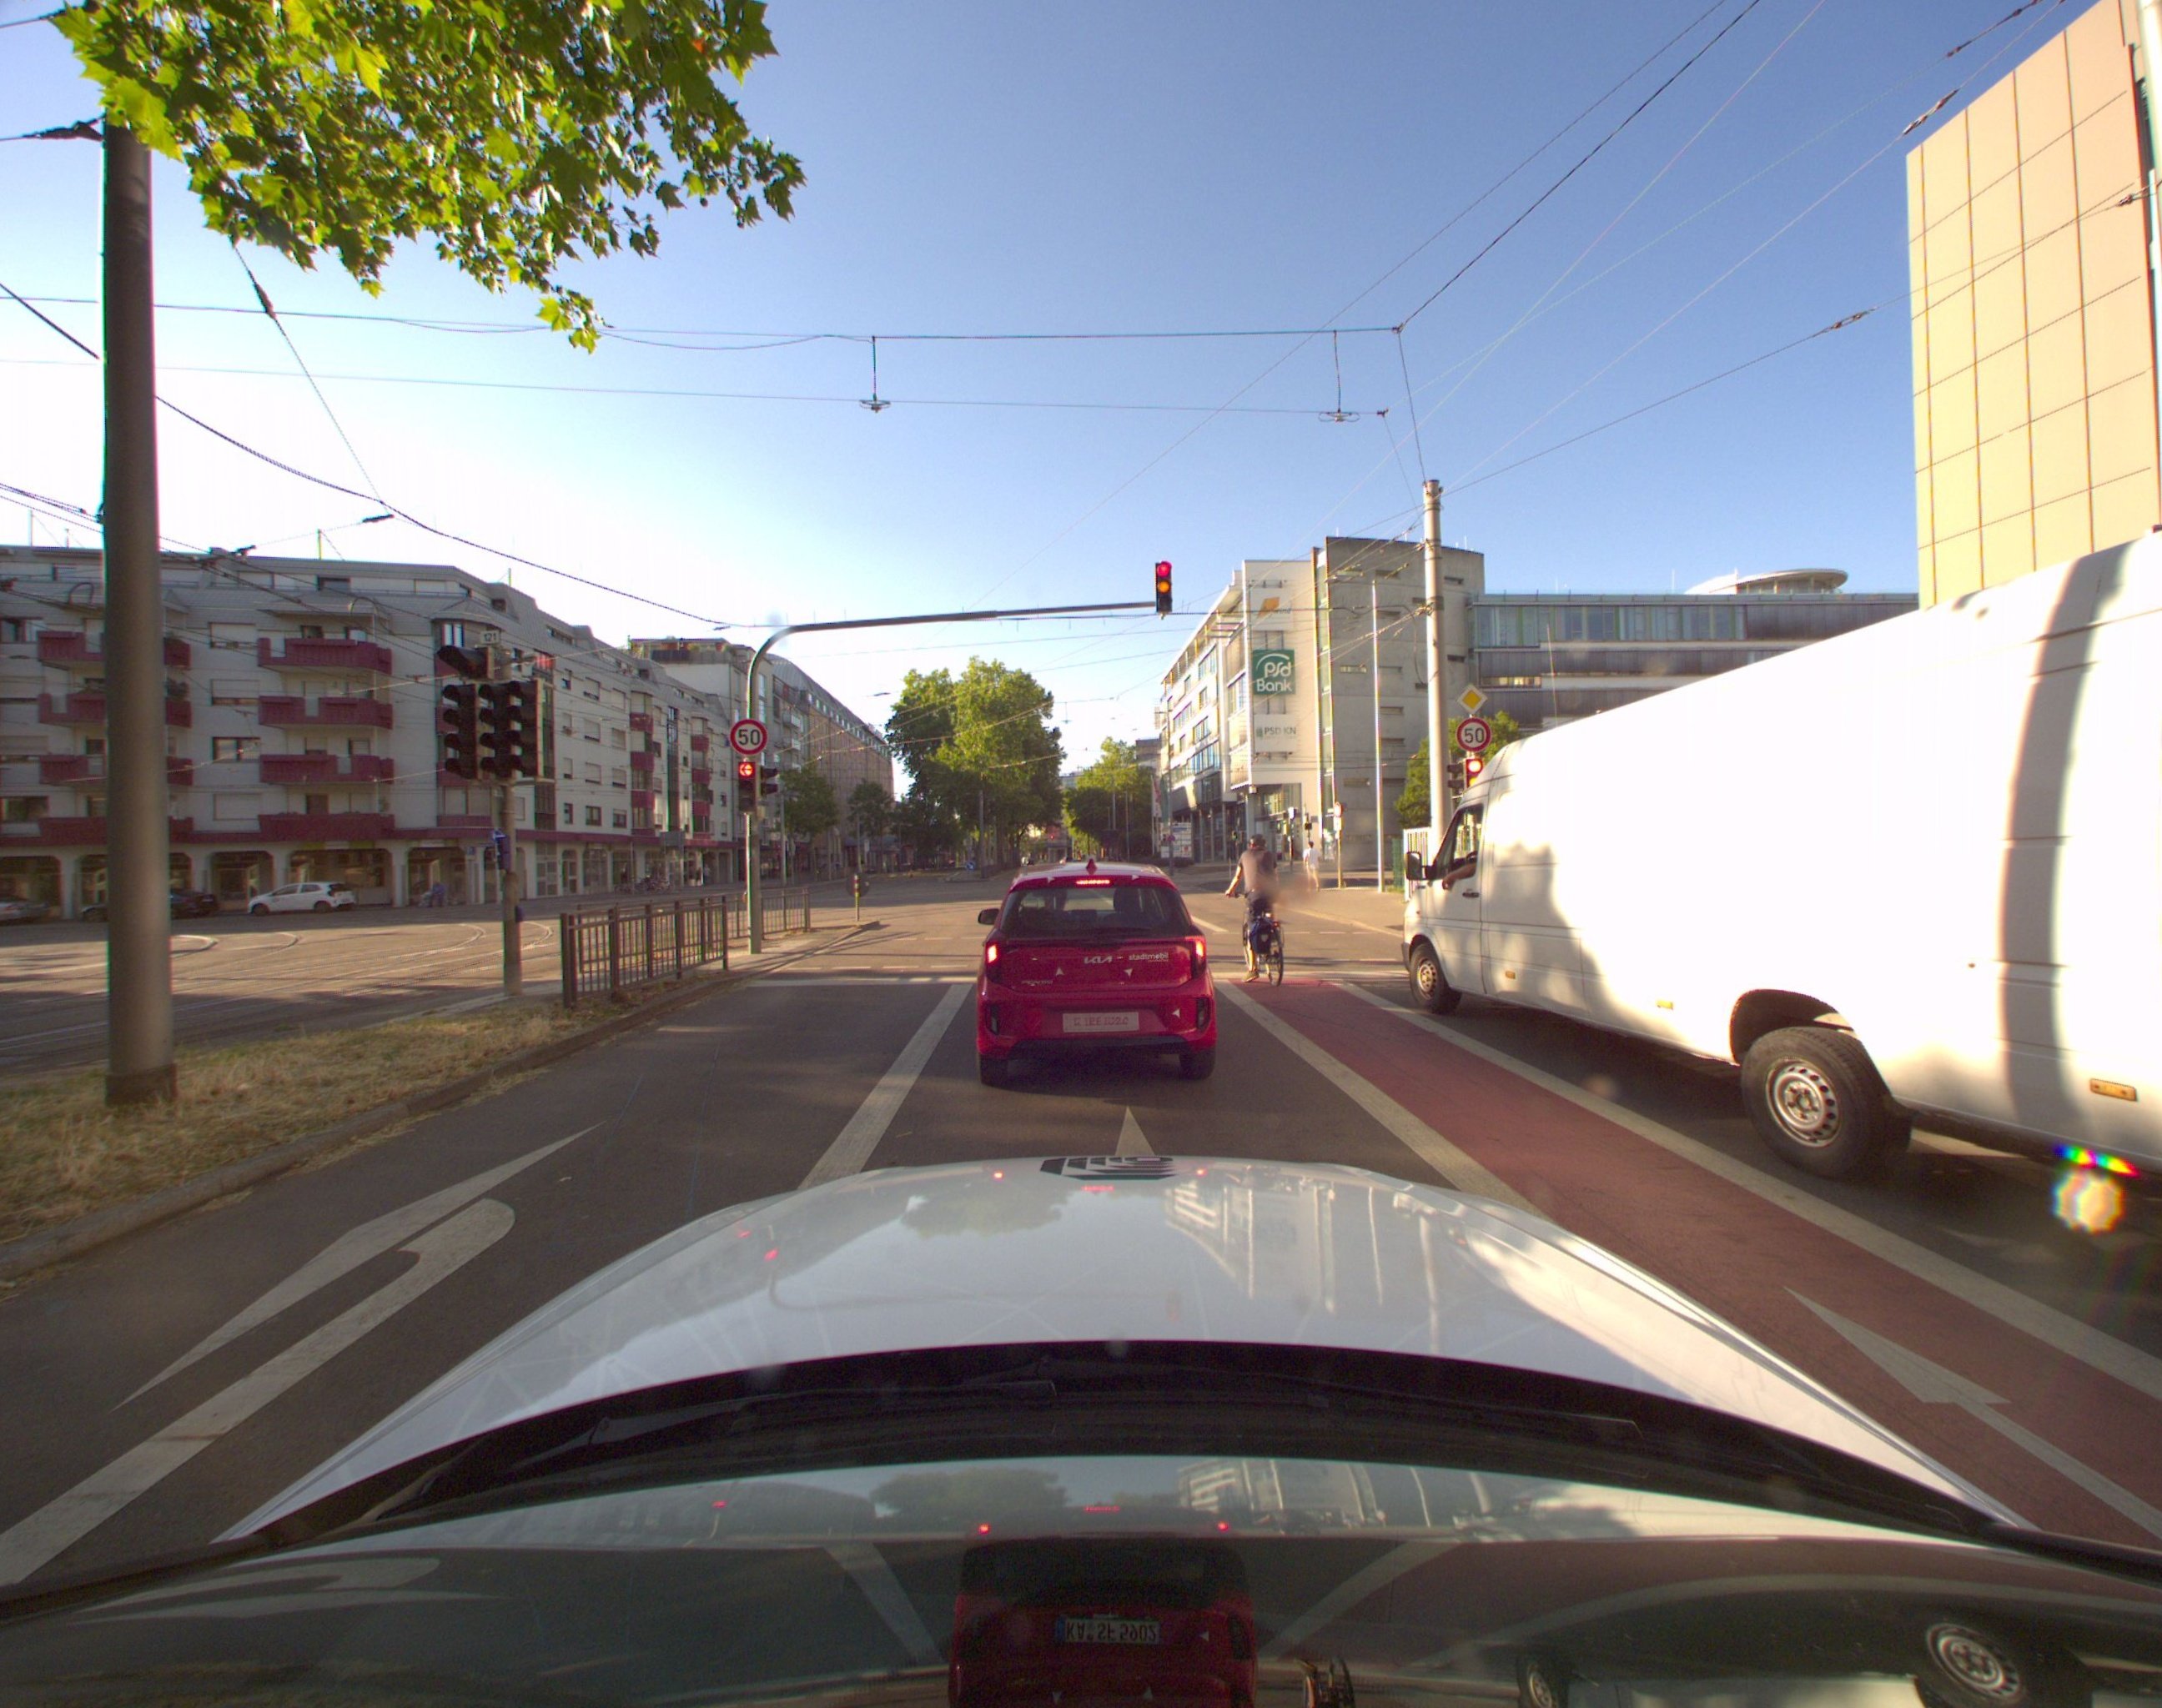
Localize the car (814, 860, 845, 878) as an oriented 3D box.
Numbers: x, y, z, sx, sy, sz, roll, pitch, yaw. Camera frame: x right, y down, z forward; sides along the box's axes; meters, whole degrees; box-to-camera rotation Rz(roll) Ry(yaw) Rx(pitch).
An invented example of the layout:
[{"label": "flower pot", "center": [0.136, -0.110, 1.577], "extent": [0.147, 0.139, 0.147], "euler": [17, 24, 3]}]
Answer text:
[{"label": "car", "center": [-24.739, 1.482, 80.245], "extent": [1.951, 1.672, 4.255], "euler": [-2, 0, -4]}]

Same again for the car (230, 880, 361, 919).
[{"label": "car", "center": [-37.166, 2.127, 38.647], "extent": [3.989, 1.555, 1.992], "euler": [-2, 0, -12]}]

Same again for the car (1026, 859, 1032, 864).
[{"label": "car", "center": [-16.320, 2.303, 256.519], "extent": [1.776, 1.535, 3.403], "euler": [-1, 0, -8]}]

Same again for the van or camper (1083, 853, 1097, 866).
[{"label": "van or camper", "center": [1.454, 0.912, 132.473], "extent": [1.988, 1.989, 4.741], "euler": [-1, 0, -2]}]

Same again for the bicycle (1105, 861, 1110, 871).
[{"label": "bicycle", "center": [3.052, 1.394, 94.518], "extent": [0.518, 0.975, 2.202], "euler": [-5, 0, 2]}]

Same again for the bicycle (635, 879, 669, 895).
[{"label": "bicycle", "center": [-27.791, 2.138, 52.819], "extent": [1.840, 0.985, 0.552], "euler": [-2, 0, -6]}]

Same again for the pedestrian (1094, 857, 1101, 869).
[{"label": "pedestrian", "center": [2.249, 1.206, 111.763], "extent": [0.641, 1.579, 0.722], "euler": [-5, 0, -5]}]

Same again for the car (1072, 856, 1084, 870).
[{"label": "car", "center": [-0.399, 1.191, 112.650], "extent": [1.631, 1.800, 3.328], "euler": [-2, 0, -1]}]

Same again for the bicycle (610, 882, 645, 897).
[{"label": "bicycle", "center": [-28.259, 2.199, 50.788], "extent": [1.837, 0.854, 0.553], "euler": [-2, 0, -1]}]

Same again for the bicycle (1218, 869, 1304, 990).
[{"label": "bicycle", "center": [2.153, 0.850, 9.984], "extent": [0.647, 1.281, 1.967], "euler": [-2, 0, 2]}]

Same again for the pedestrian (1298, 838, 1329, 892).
[{"label": "pedestrian", "center": [8.167, 0.374, 28.610], "extent": [0.774, 1.823, 1.217], "euler": [-2, 0, 5]}]

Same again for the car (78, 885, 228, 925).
[{"label": "car", "center": [-42.421, 2.305, 37.344], "extent": [4.112, 1.555, 1.992], "euler": [-2, 0, -12]}]

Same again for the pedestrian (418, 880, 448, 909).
[{"label": "pedestrian", "center": [-32.515, 2.037, 40.894], "extent": [0.857, 1.384, 0.833], "euler": [-2, 0, -14]}]

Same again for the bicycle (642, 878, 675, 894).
[{"label": "bicycle", "center": [-27.705, 2.104, 53.433], "extent": [1.840, 0.985, 0.552], "euler": [-2, 0, -6]}]

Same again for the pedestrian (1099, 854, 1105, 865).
[{"label": "pedestrian", "center": [3.464, 0.956, 132.340], "extent": [0.888, 1.753, 0.841], "euler": [-2, 0, 1]}]

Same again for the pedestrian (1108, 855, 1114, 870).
[{"label": "pedestrian", "center": [3.495, 1.012, 94.668], "extent": [0.644, 1.680, 0.651], "euler": [-2, 0, -1]}]

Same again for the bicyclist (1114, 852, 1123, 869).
[{"label": "bicyclist", "center": [3.827, 0.655, 83.113], "extent": [0.721, 1.603, 1.086], "euler": [-4, 0, -8]}]

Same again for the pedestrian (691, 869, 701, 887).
[{"label": "pedestrian", "center": [-31.895, 1.993, 67.413], "extent": [0.533, 1.494, 0.586], "euler": [-2, 0, -6]}]

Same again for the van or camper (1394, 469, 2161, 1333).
[{"label": "van or camper", "center": [4.325, 0.145, 5.374], "extent": [1.963, 2.716, 6.301], "euler": [-1, 0, -1]}]

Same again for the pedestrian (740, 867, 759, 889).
[{"label": "pedestrian", "center": [-23.937, 1.710, 58.784], "extent": [1.039, 1.544, 0.697], "euler": [-2, 0, 12]}]

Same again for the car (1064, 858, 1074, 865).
[{"label": "car", "center": [-2.580, 1.535, 173.199], "extent": [1.776, 1.535, 3.503], "euler": [-1, 0, -8]}]

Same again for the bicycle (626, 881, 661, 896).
[{"label": "bicycle", "center": [-27.698, 2.179, 51.549], "extent": [1.837, 0.854, 0.553], "euler": [-2, 0, -1]}]

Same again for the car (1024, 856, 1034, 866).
[{"label": "car", "center": [-11.264, 1.576, 176.047], "extent": [1.991, 2.013, 3.992], "euler": [-2, 0, -6]}]

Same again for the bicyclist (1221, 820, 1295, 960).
[{"label": "bicyclist", "center": [2.147, 0.417, 9.976], "extent": [0.647, 1.603, 1.089], "euler": [-2, 0, 2]}]

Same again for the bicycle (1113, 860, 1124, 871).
[{"label": "bicycle", "center": [3.838, 1.169, 83.155], "extent": [0.696, 1.098, 1.746], "euler": [-5, 0, -8]}]

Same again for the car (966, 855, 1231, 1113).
[{"label": "car", "center": [0.037, 0.793, 6.695], "extent": [1.609, 1.535, 3.408], "euler": [-1, 0, -3]}]

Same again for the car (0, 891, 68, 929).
[{"label": "car", "center": [-48.596, 2.526, 35.944], "extent": [4.572, 1.555, 1.992], "euler": [-2, 0, -12]}]

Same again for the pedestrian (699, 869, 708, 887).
[{"label": "pedestrian", "center": [-31.304, 1.990, 67.534], "extent": [0.533, 1.494, 0.586], "euler": [-2, 0, -6]}]
